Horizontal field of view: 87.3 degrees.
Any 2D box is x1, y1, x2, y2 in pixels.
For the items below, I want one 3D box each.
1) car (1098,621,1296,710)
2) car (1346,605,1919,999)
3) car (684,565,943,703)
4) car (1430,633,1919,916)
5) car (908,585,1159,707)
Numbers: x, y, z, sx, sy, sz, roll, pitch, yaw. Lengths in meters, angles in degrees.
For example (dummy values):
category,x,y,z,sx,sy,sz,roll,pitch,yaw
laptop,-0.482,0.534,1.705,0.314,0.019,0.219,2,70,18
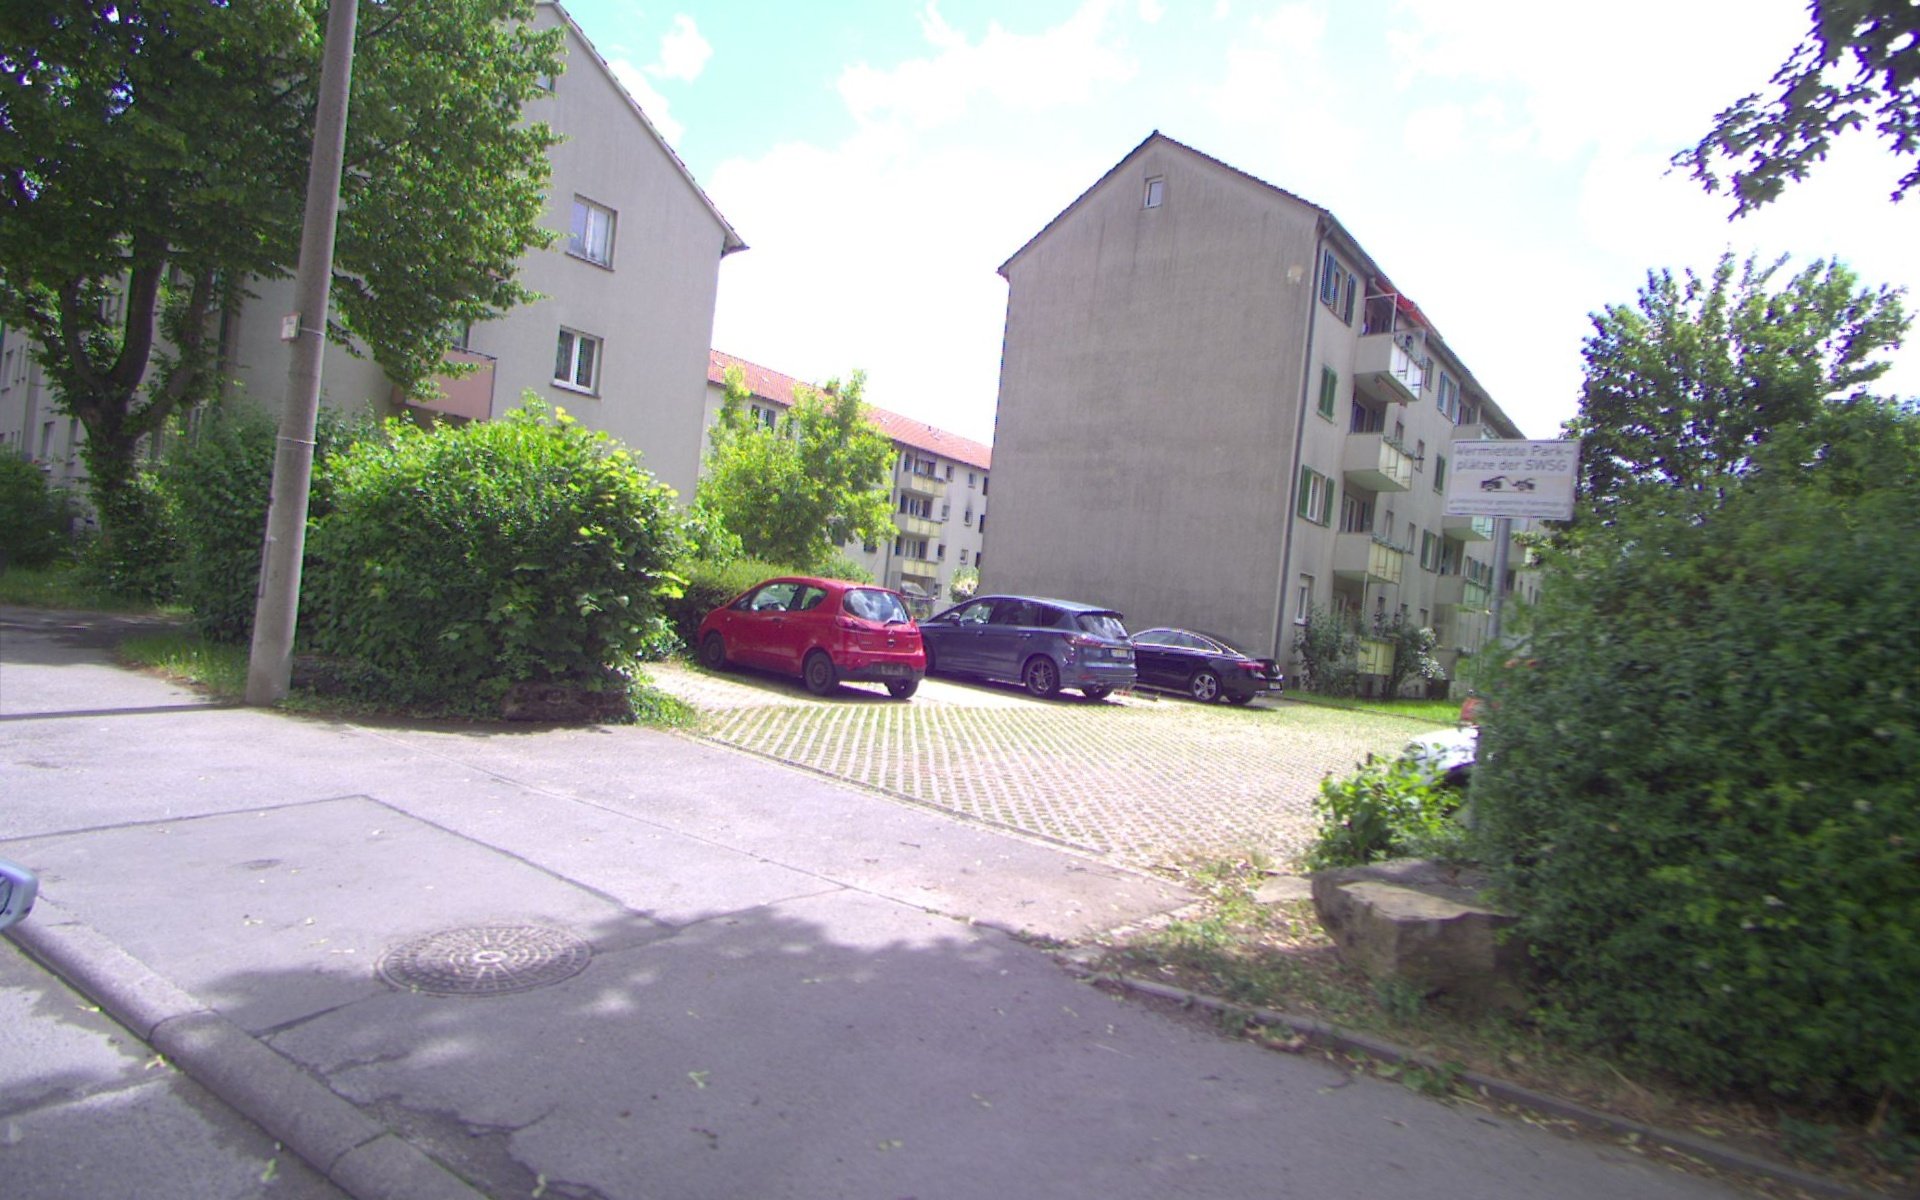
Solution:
category,x,y,z,sx,sy,sz,roll,pitch,yaw
car,4.856,1.334,20.835,3.505,1.331,1.669,7,0,41
car,4.663,1.074,5.976,3.943,1.671,1.809,6,1,40
car,-2.178,0.441,14.401,3.643,1.499,1.659,6,0,44
car,6.188,1.306,8.159,3.938,1.603,1.812,6,0,35
car,1.217,0.781,17.841,4.049,1.627,1.795,7,0,41
